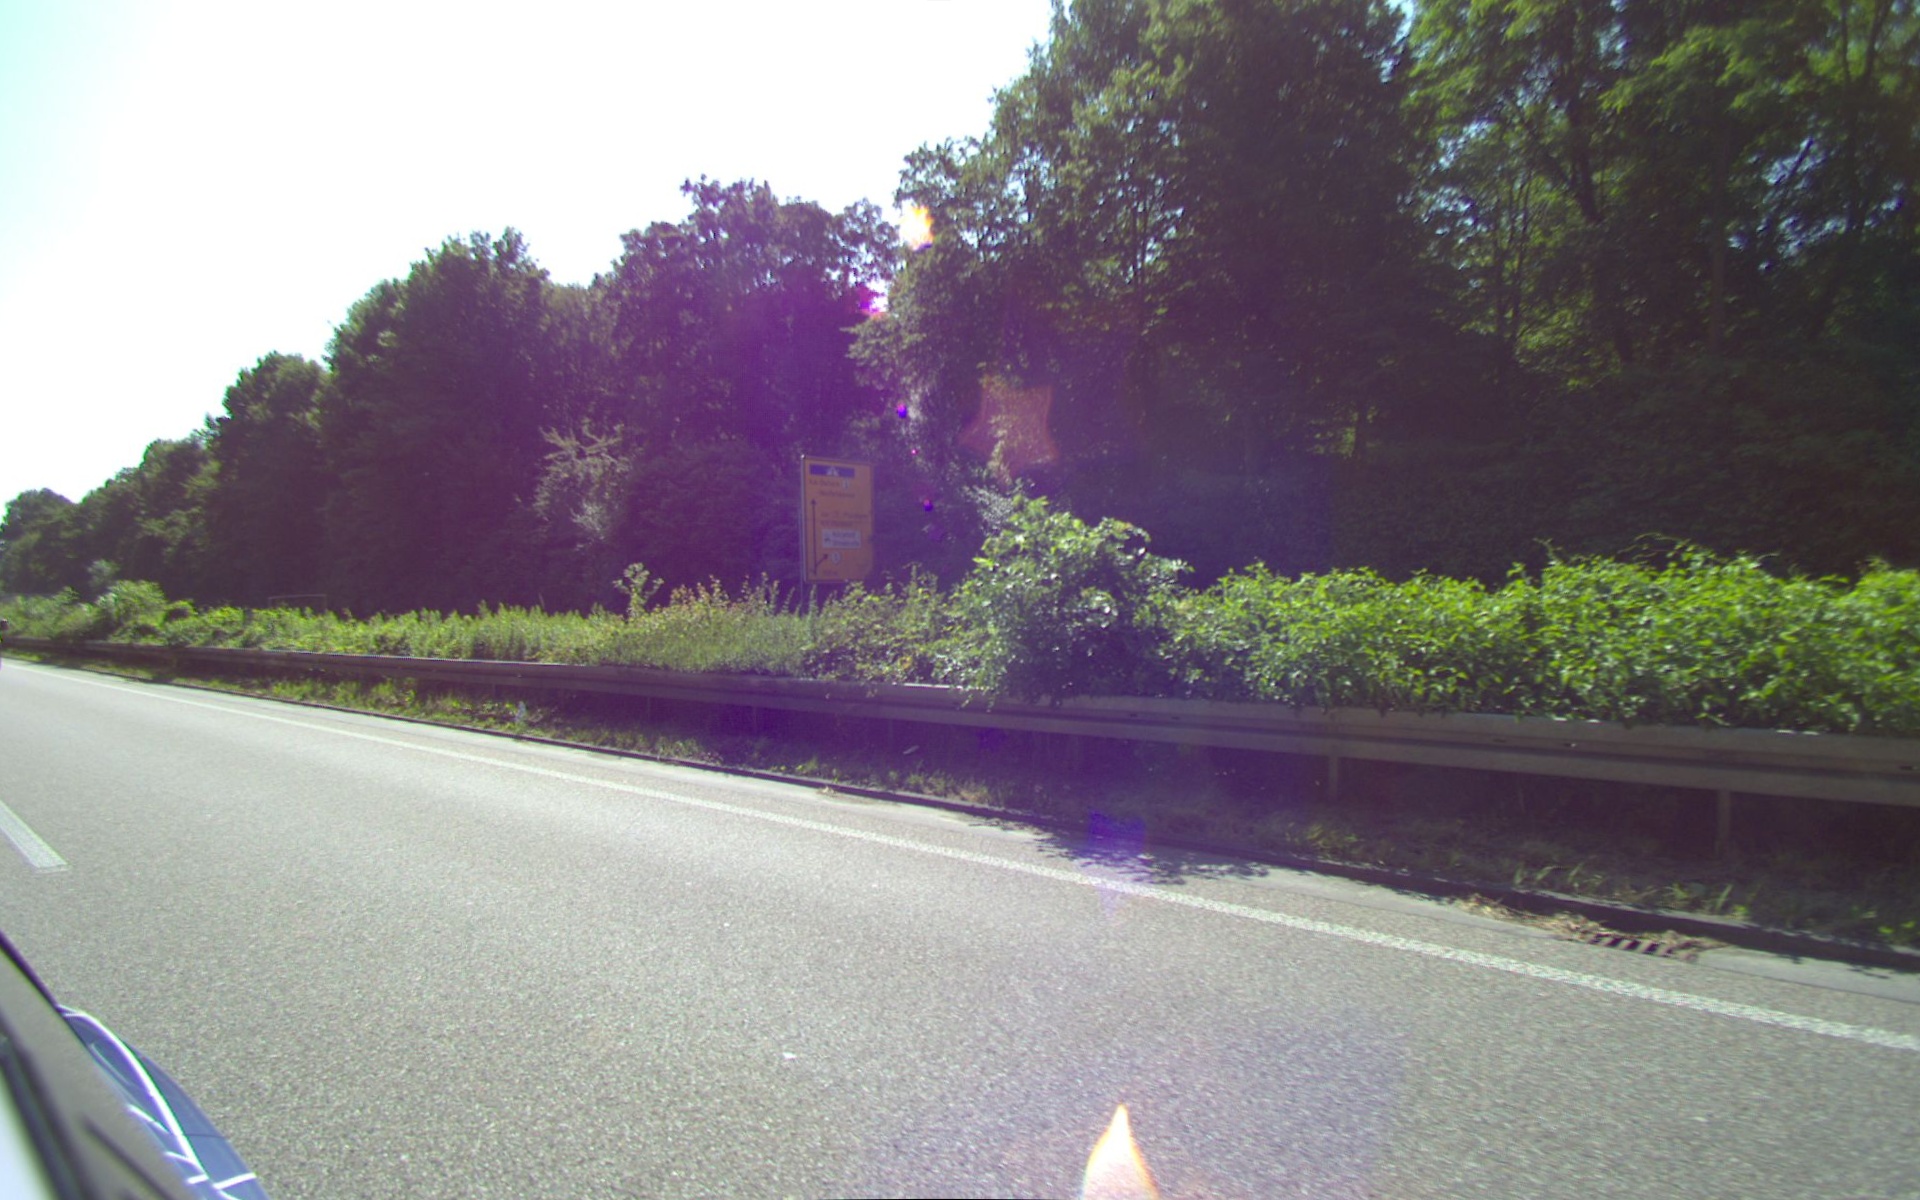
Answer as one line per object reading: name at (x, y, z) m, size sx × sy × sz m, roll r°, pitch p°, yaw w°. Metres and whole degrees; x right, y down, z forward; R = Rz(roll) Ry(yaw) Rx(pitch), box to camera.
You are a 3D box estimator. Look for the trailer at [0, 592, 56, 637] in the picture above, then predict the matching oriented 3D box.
trailer at (-94.874, 1.523, 102.918) m, size 13.657 × 4.332 × 2.799 m, roll -1°, pitch 0°, yaw 41°
